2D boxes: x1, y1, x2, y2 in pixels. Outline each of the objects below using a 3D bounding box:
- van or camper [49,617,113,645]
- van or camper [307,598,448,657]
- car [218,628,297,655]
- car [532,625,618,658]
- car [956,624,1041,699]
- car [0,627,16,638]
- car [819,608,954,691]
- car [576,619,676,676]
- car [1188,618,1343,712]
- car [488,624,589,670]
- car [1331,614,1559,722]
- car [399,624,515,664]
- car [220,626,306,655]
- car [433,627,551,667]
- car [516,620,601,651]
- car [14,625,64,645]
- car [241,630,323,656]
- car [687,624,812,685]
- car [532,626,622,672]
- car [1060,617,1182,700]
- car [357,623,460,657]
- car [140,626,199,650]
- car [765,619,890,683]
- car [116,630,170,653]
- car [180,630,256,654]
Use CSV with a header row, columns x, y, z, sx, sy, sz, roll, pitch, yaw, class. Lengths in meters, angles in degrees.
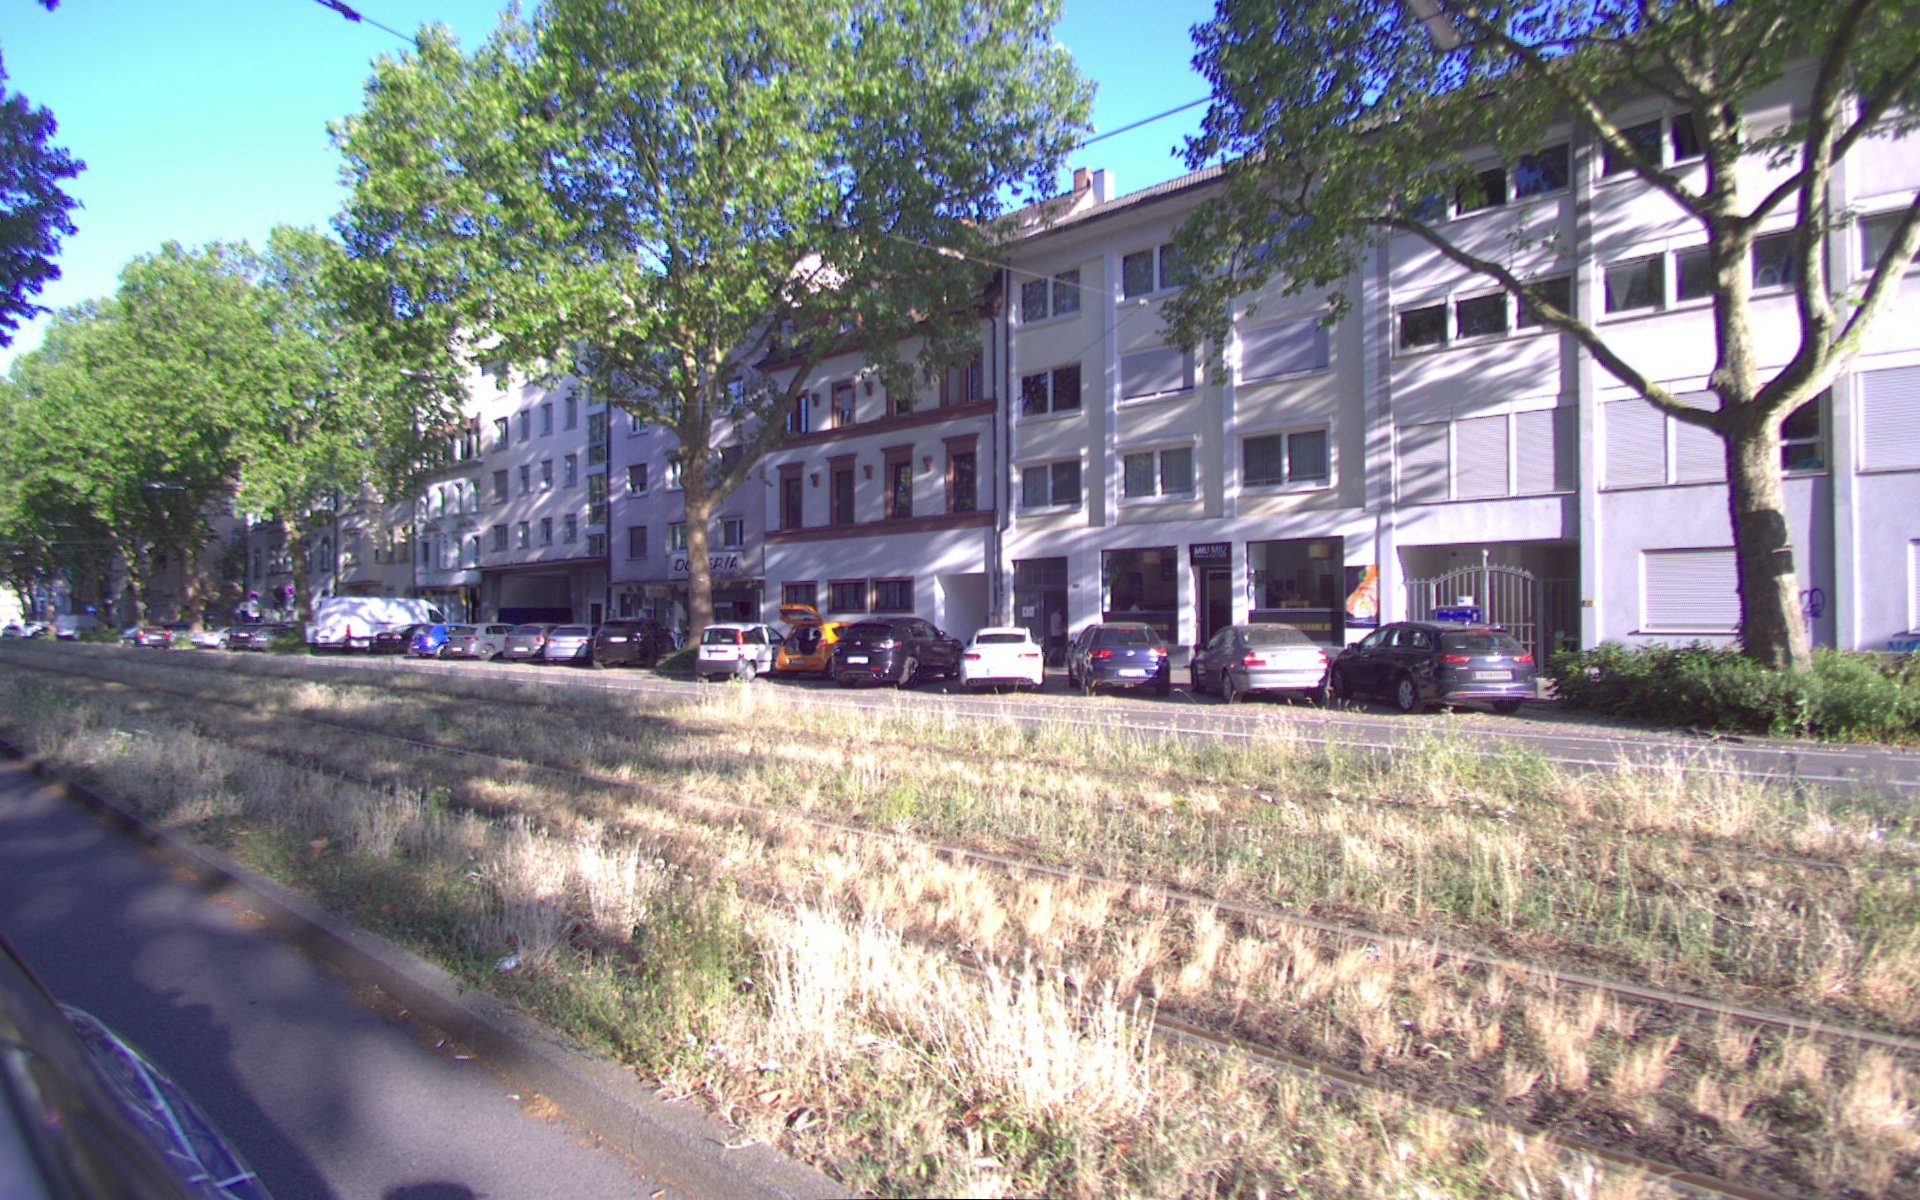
x,y,z,sx,sy,sz,roll,pitch,yaw,class
-82.951,2.907,95.585,2.171,2.418,4.363,-1,1,0,van or camper
-28.005,1.328,48.927,2.163,2.666,5.928,-1,-1,20,van or camper
-42.633,2.547,61.529,1.803,1.545,3.993,0,-3,5,car
-20.929,2.213,55.069,1.904,1.733,3.947,-1,-2,39,car
0.950,1.299,22.680,1.700,1.343,4.200,-1,1,5,car
-136.861,4.681,144.989,4.000,1.431,1.972,-1,1,43,car
-1.668,1.190,24.608,1.975,1.800,4.342,0,-3,15,car
-10.820,1.485,33.096,1.972,1.673,4.000,-1,-1,0,car
5.647,1.135,19.218,1.698,1.452,4.000,-1,1,0,car
-15.636,1.712,37.791,1.735,1.433,3.992,-1,1,6,car
8.026,1.046,17.208,1.791,1.490,4.002,-1,1,-2,car
-20.990,1.790,42.331,1.854,1.431,3.951,-1,1,37,car
-40.456,2.374,58.882,1.912,1.605,4.155,0,-3,4,car
-18.678,1.862,40.580,1.941,1.503,3.963,-1,-2,27,car
-22.437,1.950,56.616,1.998,1.553,3.948,-1,1,39,car
-101.872,3.820,112.012,1.971,2.029,4.002,-1,0,-2,car
-37.945,2.400,56.760,1.778,1.368,4.001,0,-2,3,car
-5.645,1.423,27.732,1.643,1.460,4.344,-1,0,14,car
-13.418,1.670,35.716,1.884,1.396,4.004,-1,0,-4,car
3.327,1.172,21.643,1.776,1.452,4.002,-1,1,-2,car
-25.766,1.869,47.465,1.984,1.502,3.975,-1,-2,19,car
-58.306,2.819,74.693,1.703,1.666,4.008,-1,-2,-9,car
-3.543,1.339,27.813,1.764,1.490,3.973,-1,1,20,car
-51.496,2.608,63.786,4.480,1.400,1.801,-1,-4,40,car
-46.672,2.605,63.729,1.806,1.400,3.669,-1,-1,10,car
